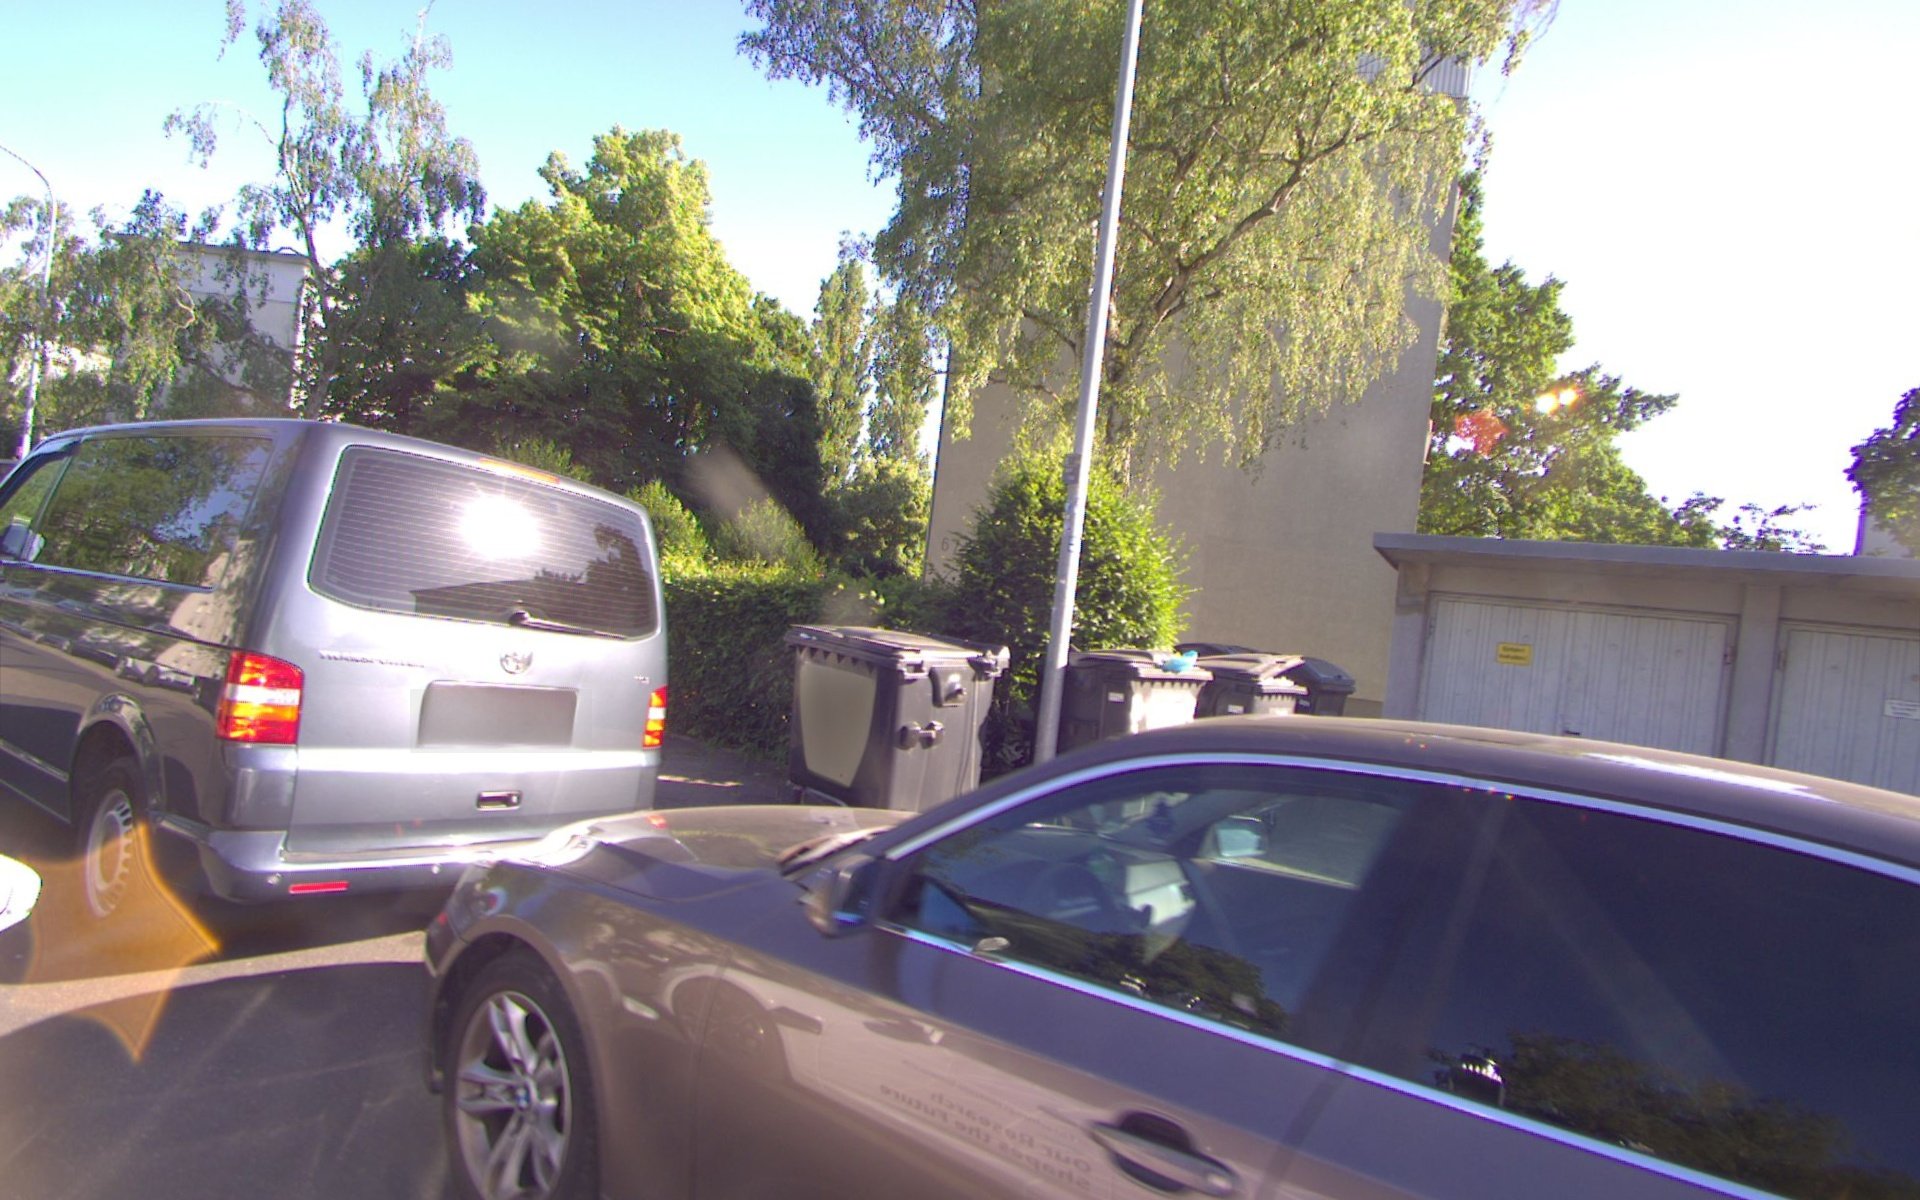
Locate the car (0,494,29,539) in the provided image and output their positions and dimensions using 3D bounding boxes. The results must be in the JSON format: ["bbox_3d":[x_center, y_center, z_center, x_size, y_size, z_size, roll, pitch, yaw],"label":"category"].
[{"bbox_3d":[-36.278,-3.239,35.715,1.800,1.532,4.416,7,0,35],"label":"car"}]

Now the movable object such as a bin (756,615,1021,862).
[{"bbox_3d":[-0.496,0.842,6.703,1.022,1.327,1.369,3,3,-45],"label":"movable object such as a bin"}]

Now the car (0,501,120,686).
[{"bbox_3d":[-9.663,-0.257,9.400,3.971,1.507,1.625,7,-2,34],"label":"car"}]

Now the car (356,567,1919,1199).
[{"bbox_3d":[0.851,0.926,2.007,4.564,1.435,1.802,6,-2,36],"label":"car"}]

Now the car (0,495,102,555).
[{"bbox_3d":[-29.701,-2.466,31.081,1.800,1.532,4.513,7,0,36],"label":"car"}]

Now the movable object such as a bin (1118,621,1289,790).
[{"bbox_3d":[2.586,1.095,10.639,1.116,1.484,1.276,11,3,38],"label":"movable object such as a bin"}]

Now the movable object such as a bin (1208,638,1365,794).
[{"bbox_3d":[3.745,1.302,11.512,1.116,1.484,1.276,11,3,38],"label":"movable object such as a bin"}]

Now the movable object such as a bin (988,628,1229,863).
[{"bbox_3d":[1.077,0.989,7.204,1.116,1.382,1.223,7,0,38],"label":"movable object such as a bin"}]

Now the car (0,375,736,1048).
[{"bbox_3d":[-3.525,0.203,4.977,4.629,1.956,1.855,7,-2,34],"label":"car"}]

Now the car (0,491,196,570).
[{"bbox_3d":[-22.728,-1.792,26.300,1.798,1.532,3.947,7,0,32],"label":"car"}]

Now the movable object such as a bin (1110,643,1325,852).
[{"bbox_3d":[2.081,1.131,8.072,1.116,1.382,1.276,7,0,38],"label":"movable object such as a bin"}]
